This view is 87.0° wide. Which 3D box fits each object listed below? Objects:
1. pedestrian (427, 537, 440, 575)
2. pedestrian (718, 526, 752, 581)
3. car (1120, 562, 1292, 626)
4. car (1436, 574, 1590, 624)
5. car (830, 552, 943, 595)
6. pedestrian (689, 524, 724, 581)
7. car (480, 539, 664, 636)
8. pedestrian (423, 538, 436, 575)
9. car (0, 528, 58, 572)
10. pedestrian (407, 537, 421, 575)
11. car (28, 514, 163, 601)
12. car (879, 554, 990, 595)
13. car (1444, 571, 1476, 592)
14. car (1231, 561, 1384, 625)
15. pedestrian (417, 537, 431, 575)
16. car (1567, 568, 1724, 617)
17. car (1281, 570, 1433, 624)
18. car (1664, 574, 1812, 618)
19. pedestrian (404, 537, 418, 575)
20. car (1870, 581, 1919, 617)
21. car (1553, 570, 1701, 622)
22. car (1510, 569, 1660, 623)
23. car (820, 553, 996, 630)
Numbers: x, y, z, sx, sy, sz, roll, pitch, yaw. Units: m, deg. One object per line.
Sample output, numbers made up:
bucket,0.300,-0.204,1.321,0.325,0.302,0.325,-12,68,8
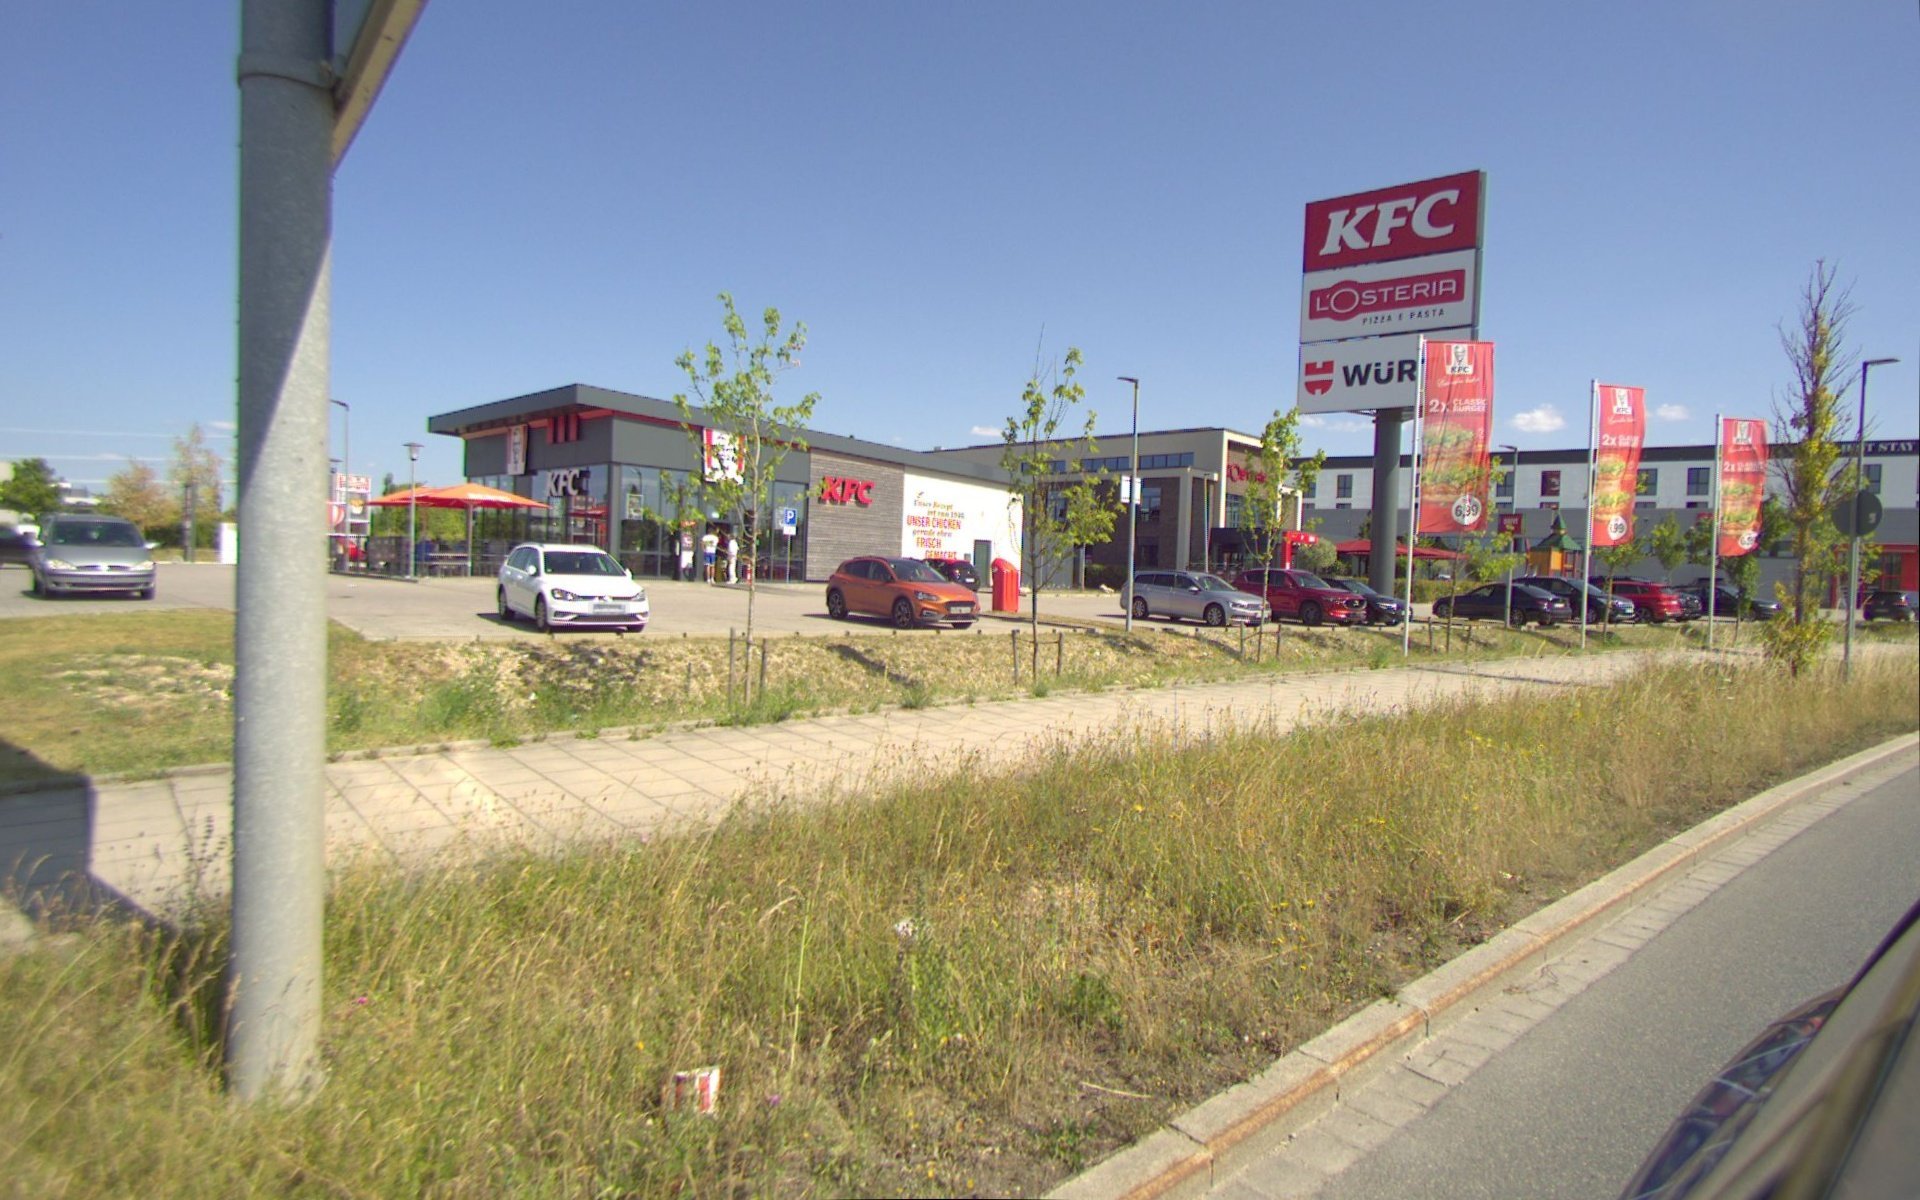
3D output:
pedestrian,-17.683,-1.470,33.997,0.379,1.255,0.288,3,2,43
pedestrian,-8.411,-1.733,37.818,0.876,2.038,0.914,0,2,-42
car,6.759,-0.204,28.299,1.833,1.508,4.572,1,3,-35
car,19.250,-0.074,35.445,1.755,1.467,4.428,1,3,-29
car,-2.923,-1.061,39.505,4.557,1.449,1.839,5,3,44
pedestrian,-9.225,-1.723,36.871,0.876,2.038,0.914,0,2,-42
car,-7.161,-0.292,18.391,1.835,1.508,4.538,1,3,-39
pedestrian,-18.154,-1.498,34.646,0.379,1.255,0.288,3,2,43
car,-34.397,-1.786,35.491,1.758,1.541,4.169,2,2,1
pedestrian,-18.082,-1.465,33.526,0.379,1.255,0.288,3,2,43
car,-18.316,-0.923,21.382,4.156,1.655,1.763,4,3,43
car,-1.096,-1.070,41.417,4.557,1.449,1.839,5,3,44
car,38.785,-1.433,78.472,1.690,1.480,4.060,2,2,33
car,10.529,-0.255,30.960,1.832,1.685,4.173,1,3,-31
pedestrian,-17.890,-1.467,33.760,0.379,1.255,0.288,3,2,43
car,28.180,-0.341,41.799,1.900,1.756,5.006,1,3,-30
car,12.627,-0.124,32.404,1.758,1.467,4.167,1,3,-37
car,32.368,-0.201,42.239,1.955,1.585,4.427,1,3,-30
pedestrian,-18.555,-1.493,34.191,0.379,1.255,0.288,3,2,43
car,44.514,-0.038,47.030,4.082,1.559,1.790,1,2,-24
car,25.853,-0.194,39.400,1.754,1.756,4.429,1,3,-28
car,23.273,-0.201,37.867,1.754,1.756,4.429,1,3,-28
car,-1.265,-0.246,22.824,1.835,1.508,4.216,1,3,-39
